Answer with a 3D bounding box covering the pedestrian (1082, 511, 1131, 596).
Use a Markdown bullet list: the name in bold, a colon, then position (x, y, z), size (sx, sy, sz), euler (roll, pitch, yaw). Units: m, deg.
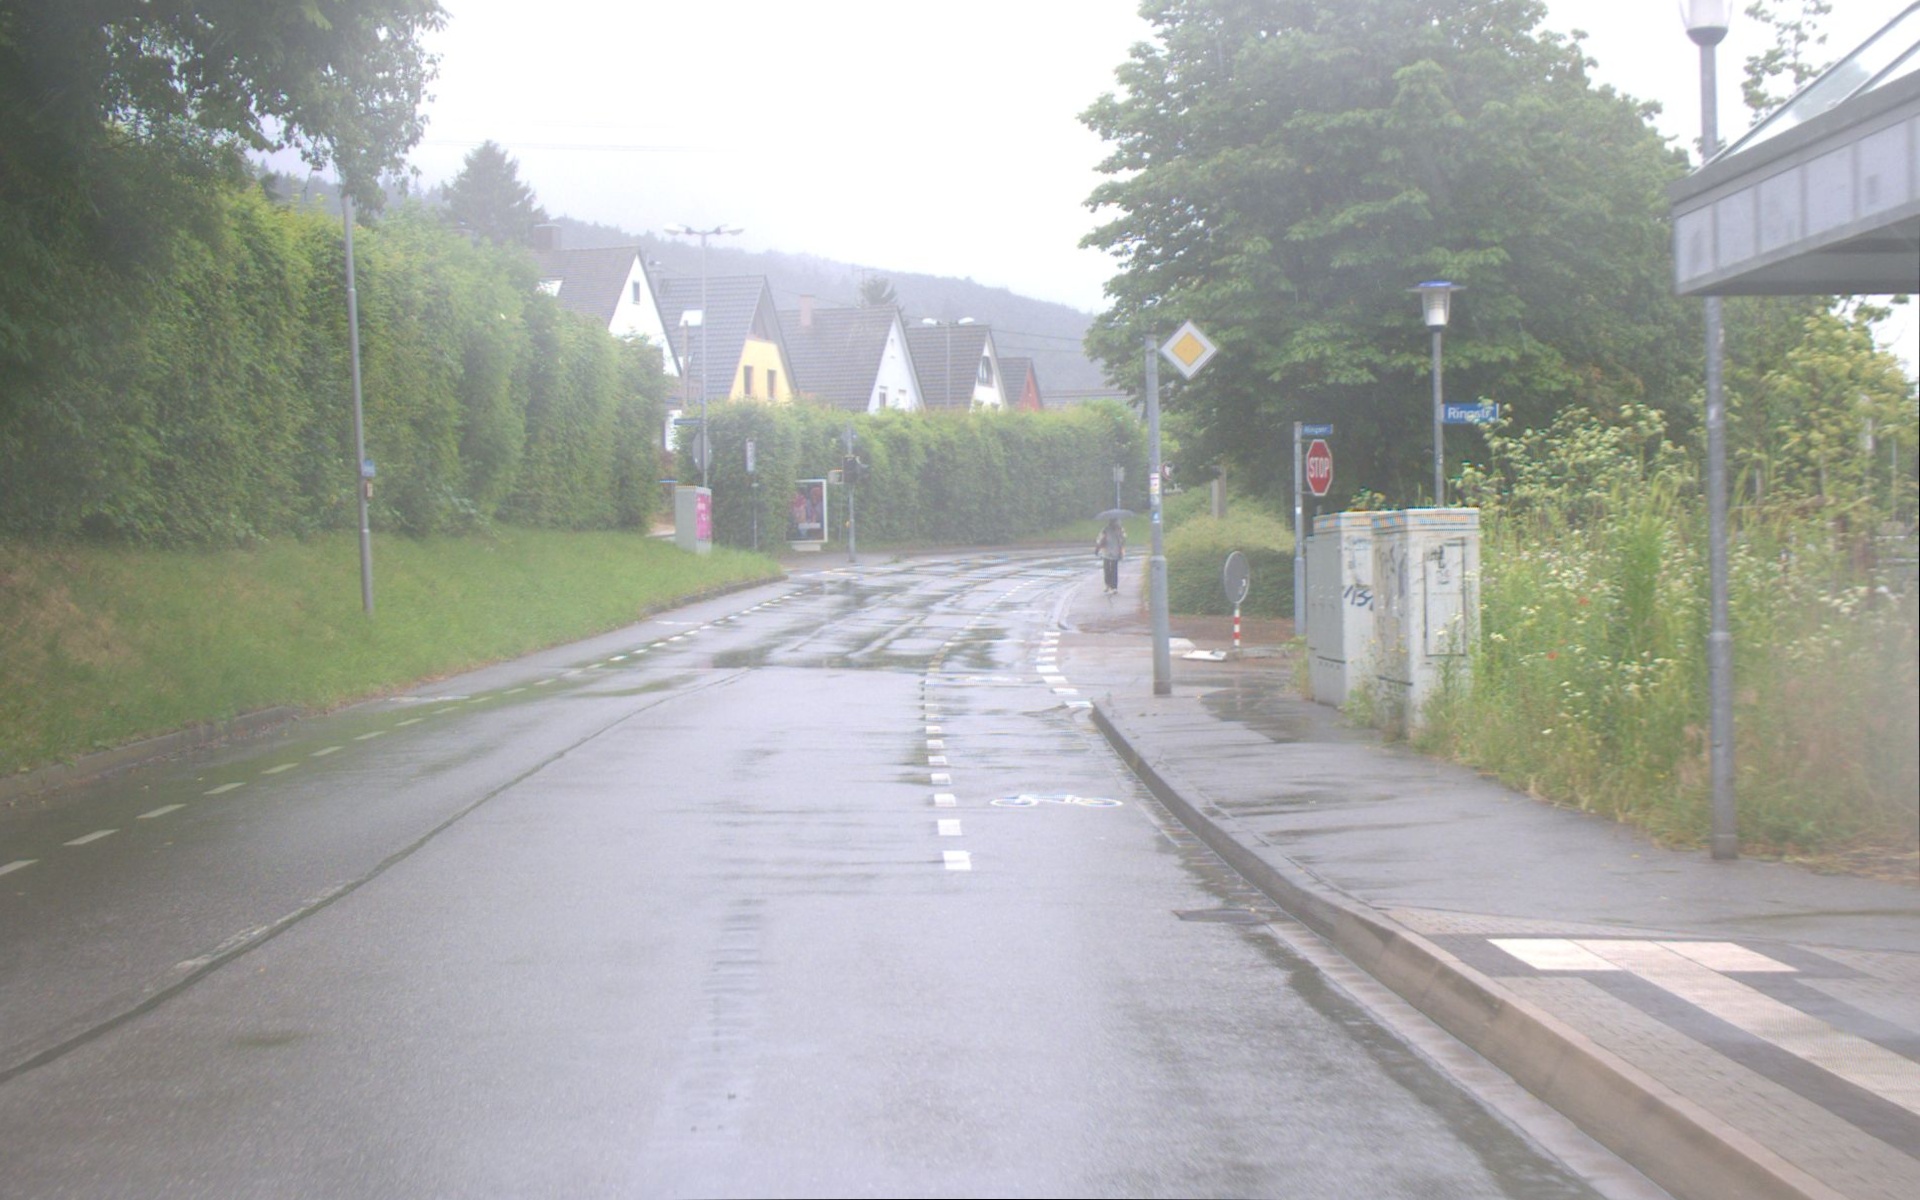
- **pedestrian**: position (2.952, -0.942, 69.034), size (0.920, 1.669, 1.057), euler (-2, 1, 3)
